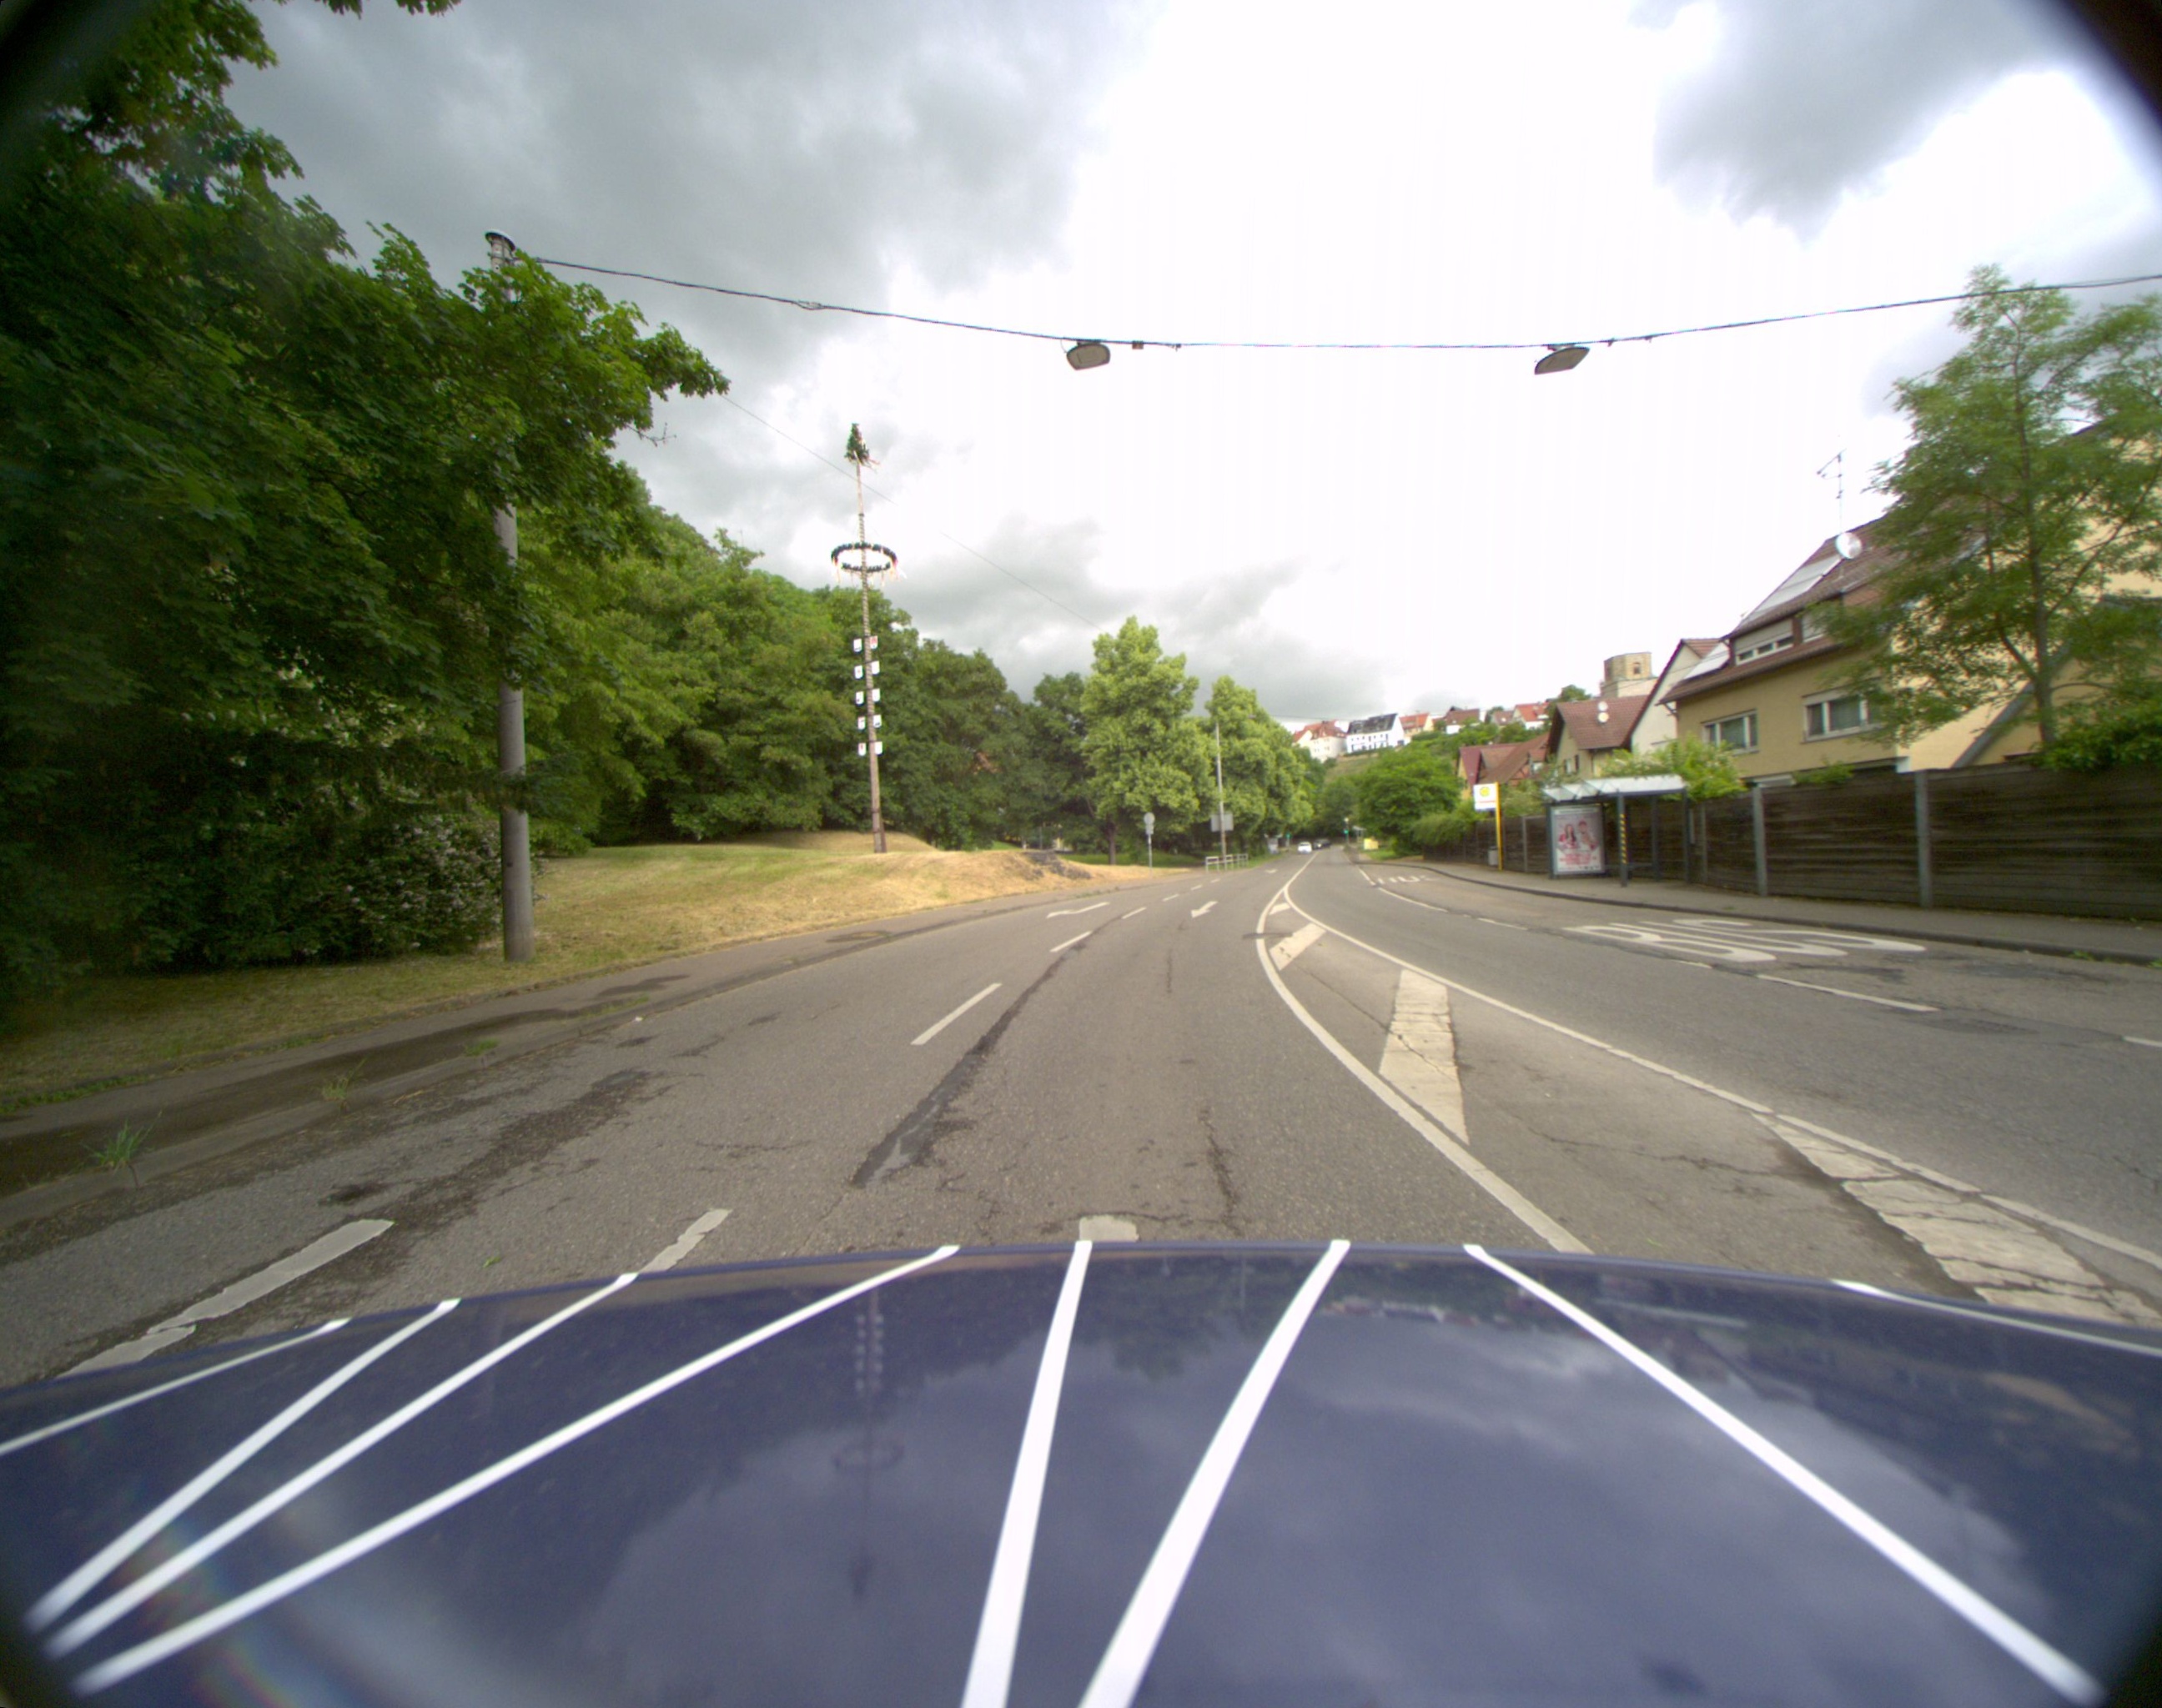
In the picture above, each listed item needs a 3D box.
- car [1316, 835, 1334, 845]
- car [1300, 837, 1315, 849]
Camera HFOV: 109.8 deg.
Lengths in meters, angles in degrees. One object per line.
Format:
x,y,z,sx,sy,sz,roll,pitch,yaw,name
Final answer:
39.071,-2.278,121.592,1.760,1.575,3.690,-2,1,36,car
29.965,-1.414,100.436,1.761,1.516,3.687,-2,1,18,car
